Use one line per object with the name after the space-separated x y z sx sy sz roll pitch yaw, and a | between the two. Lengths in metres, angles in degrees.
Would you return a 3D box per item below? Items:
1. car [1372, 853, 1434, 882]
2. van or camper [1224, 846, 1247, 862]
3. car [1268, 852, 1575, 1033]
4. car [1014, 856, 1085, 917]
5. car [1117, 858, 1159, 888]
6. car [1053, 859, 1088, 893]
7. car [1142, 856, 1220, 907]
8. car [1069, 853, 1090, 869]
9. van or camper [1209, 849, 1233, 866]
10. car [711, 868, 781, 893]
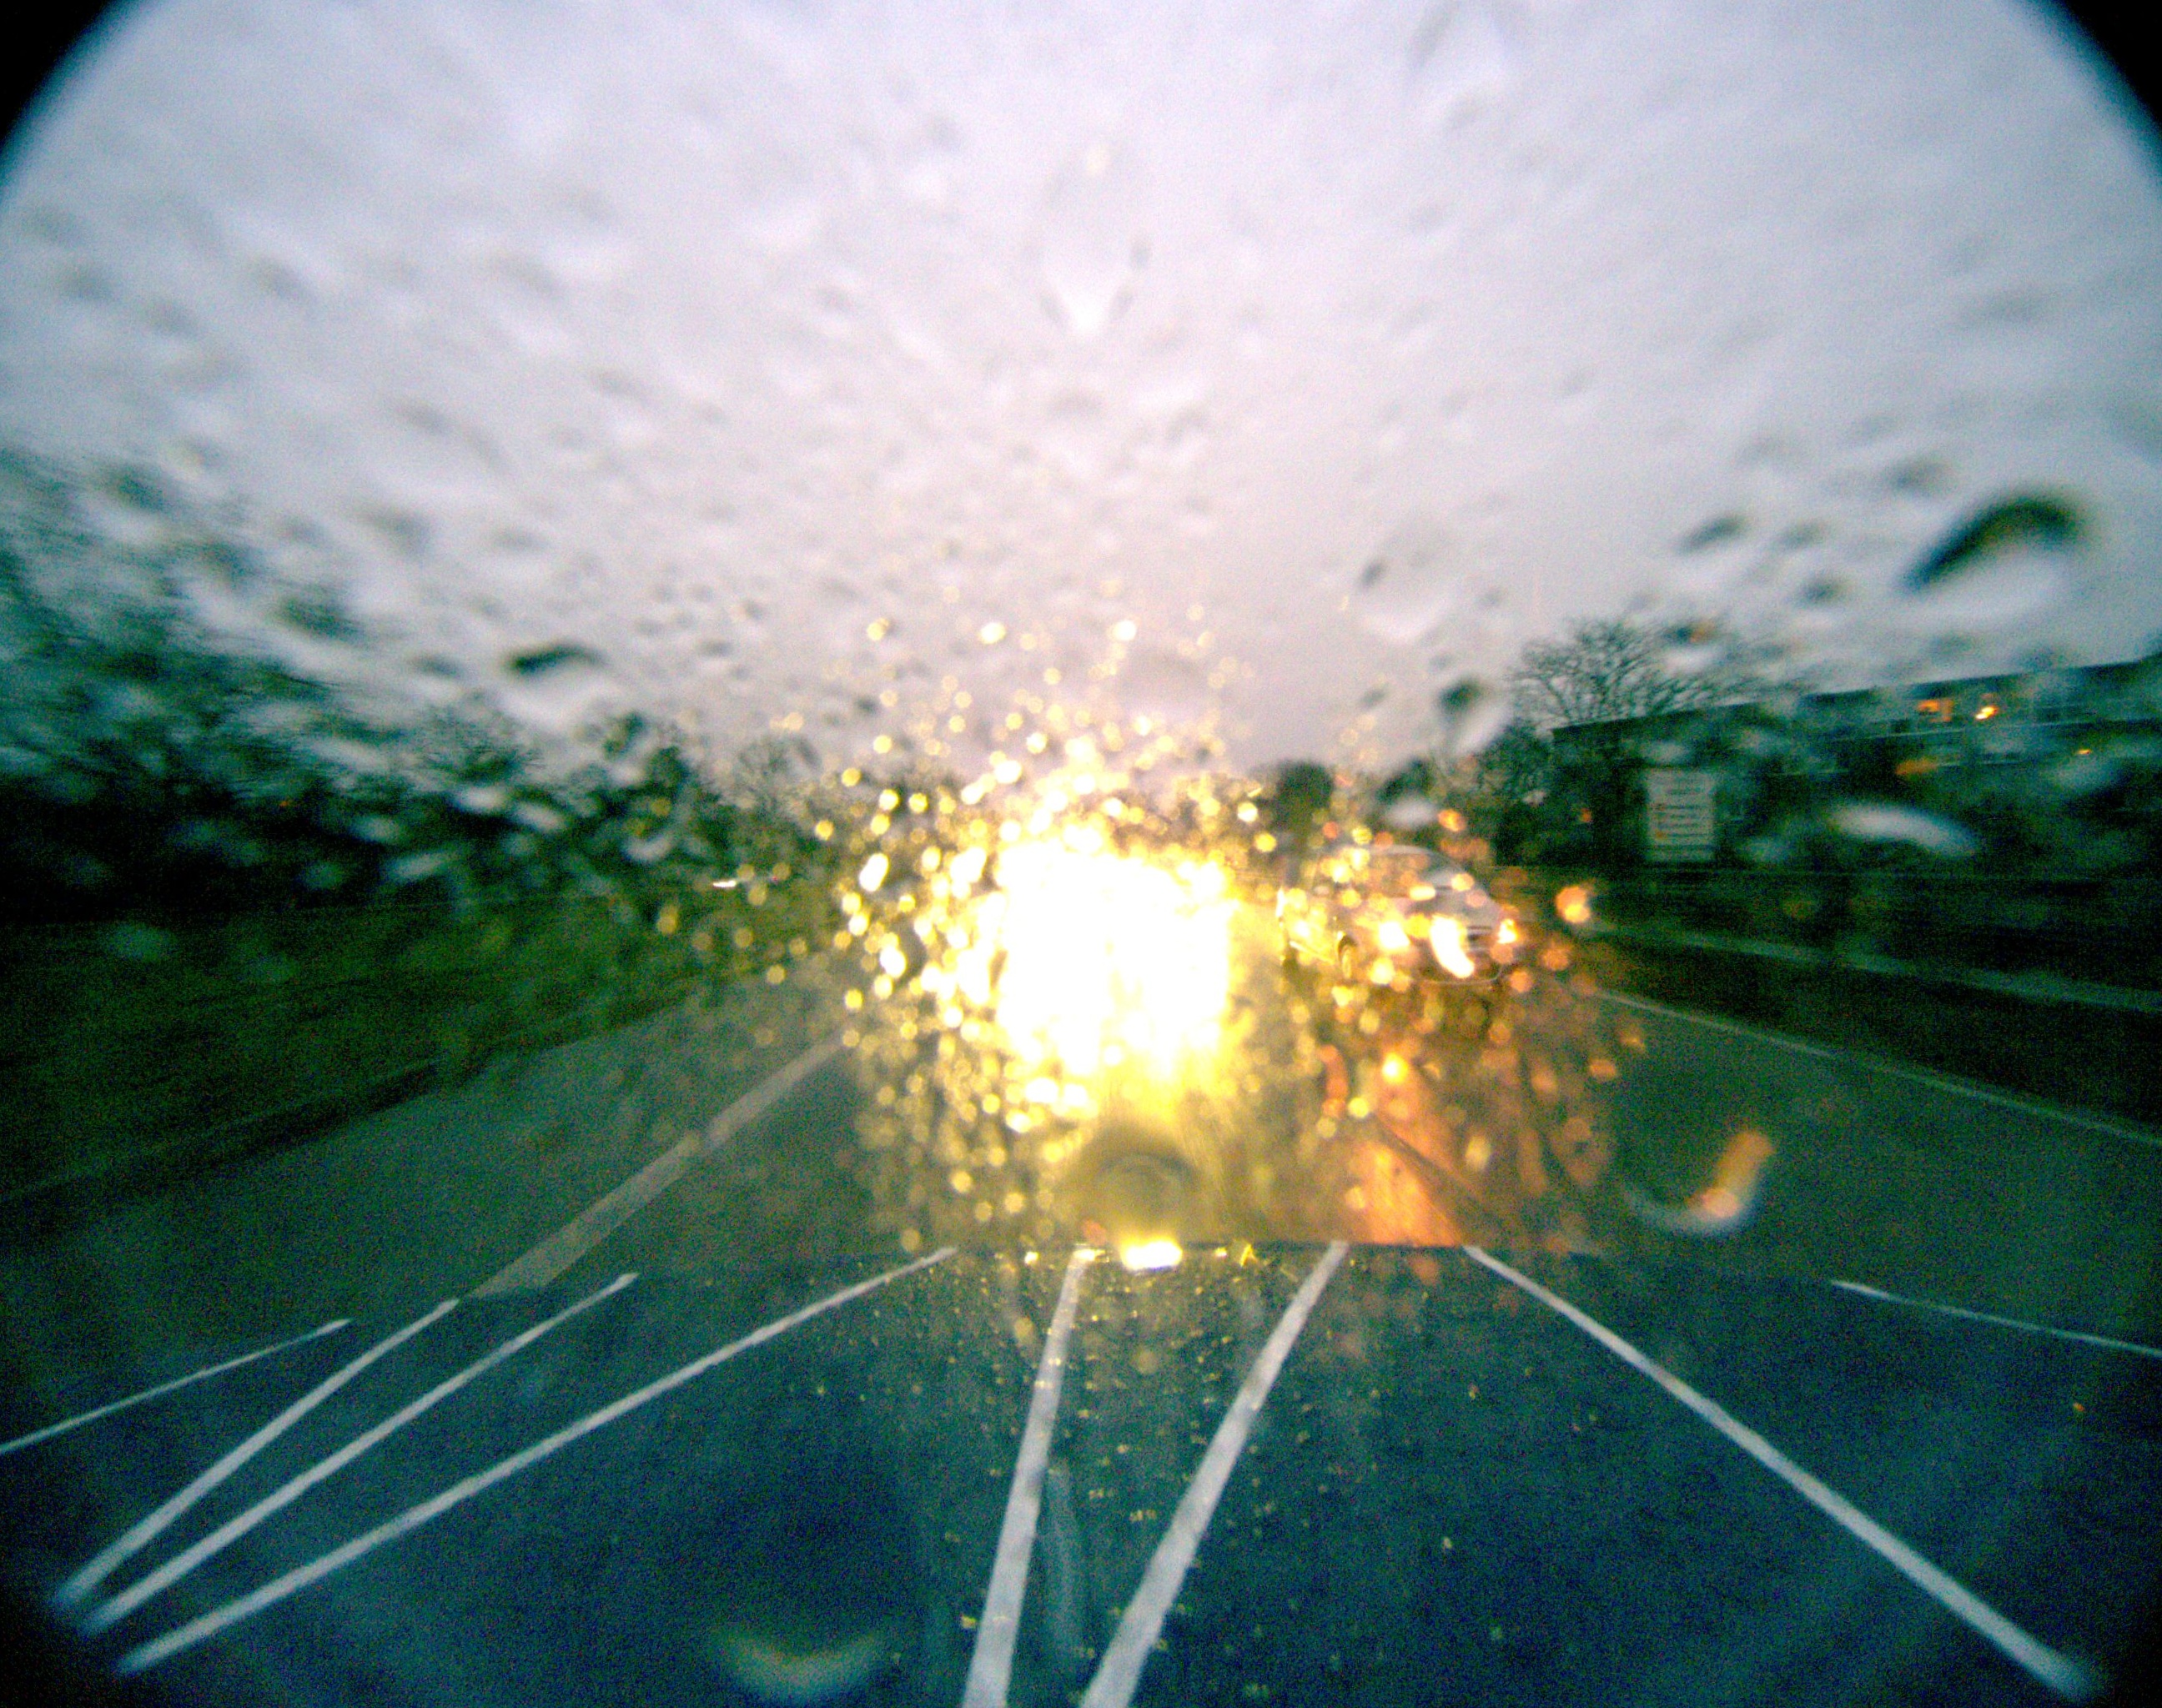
16.563 0.669 39.277 1.759 1.401 3.639 -1 0 1 | car
17.484 0.023 86.364 1.765 1.725 4.884 -2 0 2 | van or camper
3.582 0.794 8.923 1.766 1.590 4.165 -1 1 1 | car
-0.821 0.862 21.785 1.830 1.524 3.999 -1 1 0 | car
2.883 0.935 38.980 1.697 1.327 3.999 -2 1 -2 | car
-0.492 1.094 39.244 1.728 1.573 3.790 -1 1 1 | car
3.295 0.878 25.826 2.027 1.521 4.144 -1 1 -1 | car
-0.161 0.736 79.835 1.853 1.610 3.949 -2 1 -5 | car
12.895 0.324 70.386 1.530 1.473 4.434 -2 0 2 | van or camper
-21.131 1.631 48.076 1.725 1.426 3.797 0 1 26 | car
